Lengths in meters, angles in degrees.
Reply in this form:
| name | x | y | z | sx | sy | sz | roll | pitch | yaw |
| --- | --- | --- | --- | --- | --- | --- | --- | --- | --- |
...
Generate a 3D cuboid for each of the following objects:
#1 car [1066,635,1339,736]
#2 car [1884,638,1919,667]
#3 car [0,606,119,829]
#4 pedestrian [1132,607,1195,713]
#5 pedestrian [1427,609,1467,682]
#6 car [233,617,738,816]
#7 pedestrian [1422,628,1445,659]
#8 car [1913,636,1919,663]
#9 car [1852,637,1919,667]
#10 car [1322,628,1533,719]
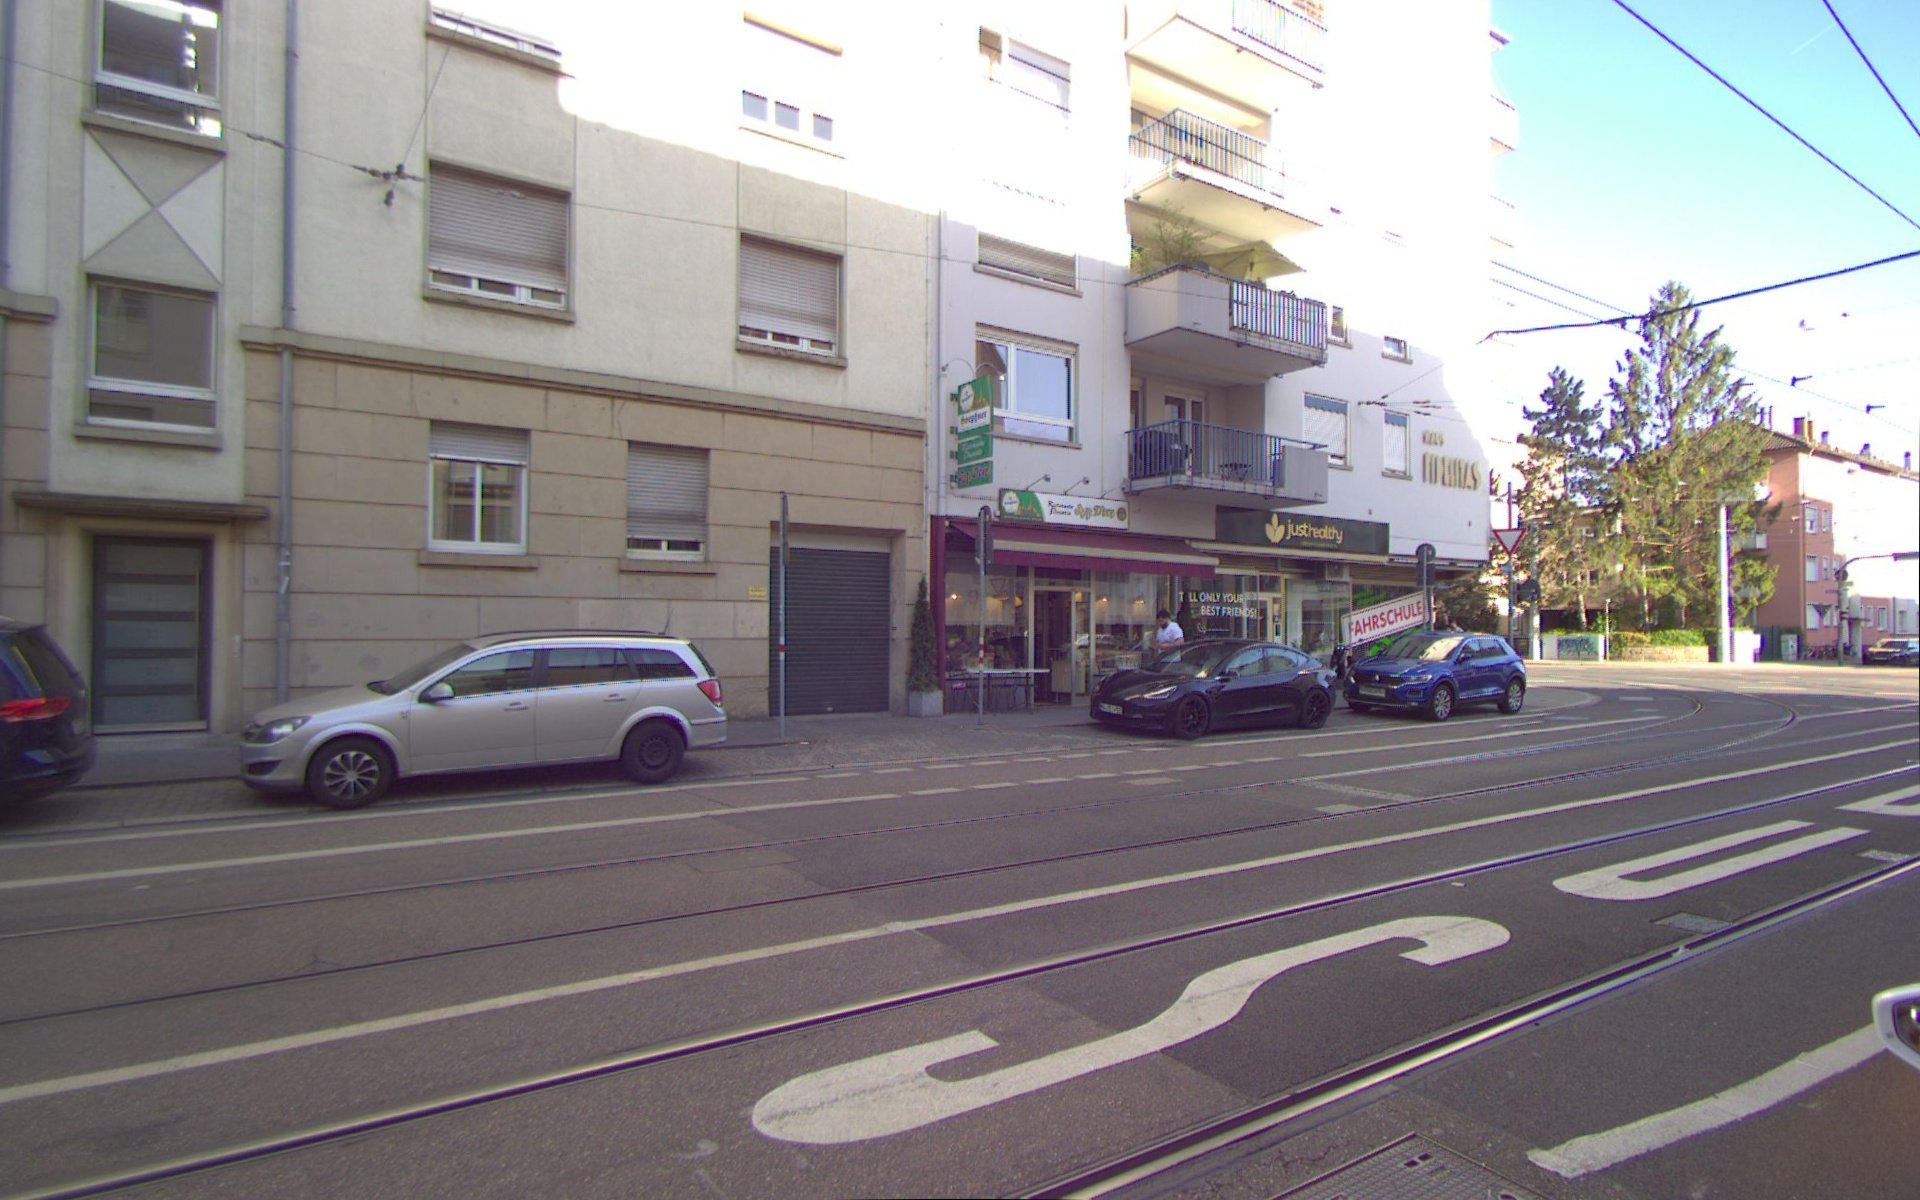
| name | x | y | z | sx | sy | sz | roll | pitch | yaw |
| --- | --- | --- | --- | --- | --- | --- | --- | --- | --- |
| car | 3.964 | 1.274 | 16.135 | 4.382 | 1.405 | 1.810 | 1 | -2 | -34 |
| car | 53.814 | 2.945 | 56.278 | 4.250 | 1.518 | 1.806 | 2 | 0 | -30 |
| car | -8.982 | 0.830 | 7.245 | 4.249 | 1.606 | 1.893 | 2 | 0 | -35 |
| pedestrian | 3.613 | 1.051 | 17.867 | 0.802 | 1.827 | 0.689 | 2 | 0 | -30 |
| pedestrian | 13.845 | 1.277 | 28.556 | 0.688 | 2.040 | 0.764 | 2 | 0 | -35 |
| car | -4.711 | 1.035 | 10.311 | 4.319 | 1.580 | 1.981 | 2 | 0 | -34 |
| pedestrian | 28.569 | 2.628 | 60.608 | 0.798 | 1.815 | 0.896 | 2 | 0 | -31 |
| car | 58.311 | 2.963 | 59.419 | 4.103 | 1.531 | 1.778 | 2 | 0 | -31 |
| car | 49.471 | 2.760 | 53.555 | 3.949 | 1.440 | 1.784 | 2 | 0 | -31 |
| car | 8.917 | 1.312 | 19.087 | 4.030 | 1.552 | 1.858 | 1 | -2 | -34 |
